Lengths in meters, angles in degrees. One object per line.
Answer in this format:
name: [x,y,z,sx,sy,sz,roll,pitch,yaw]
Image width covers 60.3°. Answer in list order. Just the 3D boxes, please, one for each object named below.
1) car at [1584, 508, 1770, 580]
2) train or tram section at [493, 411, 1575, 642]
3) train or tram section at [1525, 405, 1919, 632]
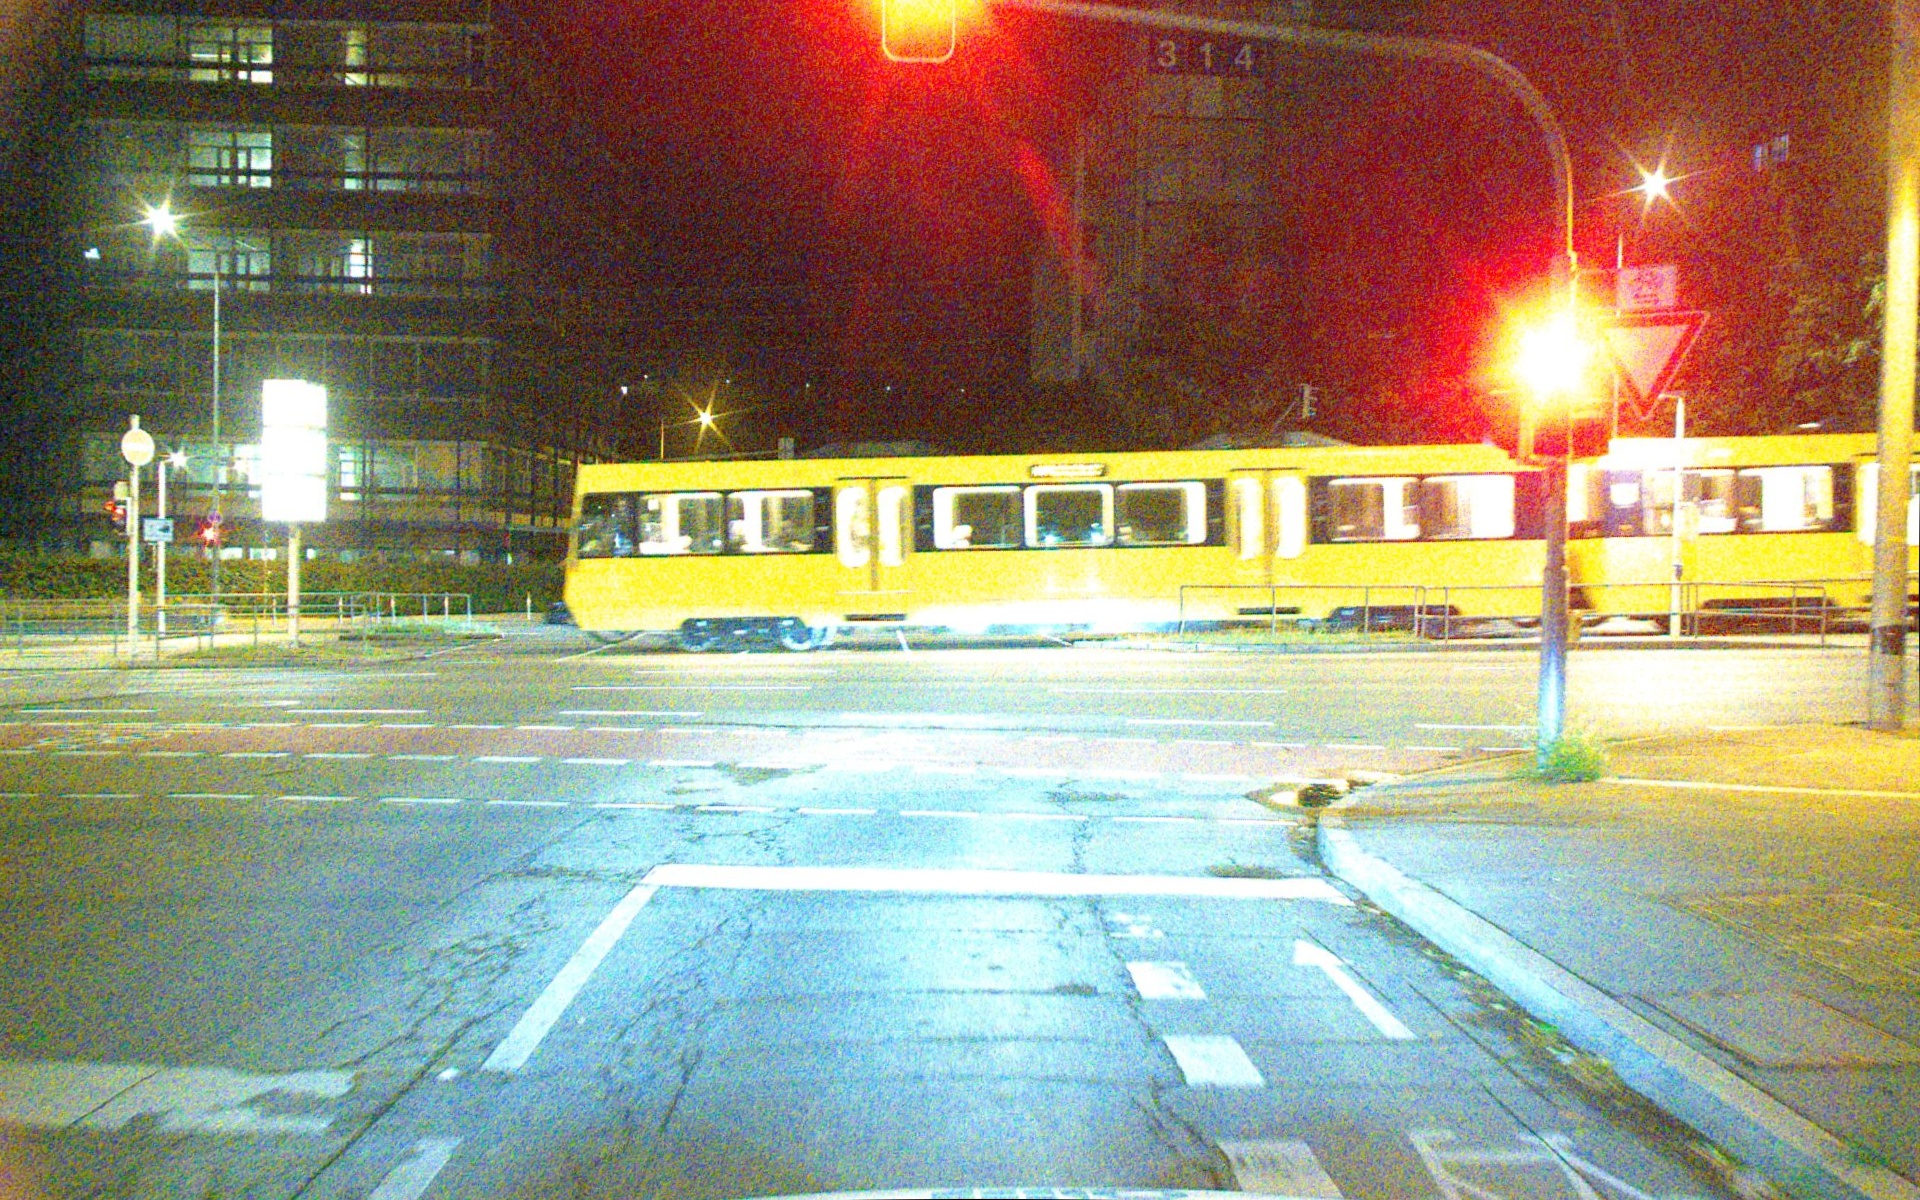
car: [18.380,-1.422,42.542,3.972,1.643,1.870,-2,1,7]
train or tram section: [1.236,-1.299,31.144,19.377,3.929,2.942,0,1,4]
train or tram section: [20.204,-1.493,29.919,18.771,3.890,2.925,-1,1,4]
